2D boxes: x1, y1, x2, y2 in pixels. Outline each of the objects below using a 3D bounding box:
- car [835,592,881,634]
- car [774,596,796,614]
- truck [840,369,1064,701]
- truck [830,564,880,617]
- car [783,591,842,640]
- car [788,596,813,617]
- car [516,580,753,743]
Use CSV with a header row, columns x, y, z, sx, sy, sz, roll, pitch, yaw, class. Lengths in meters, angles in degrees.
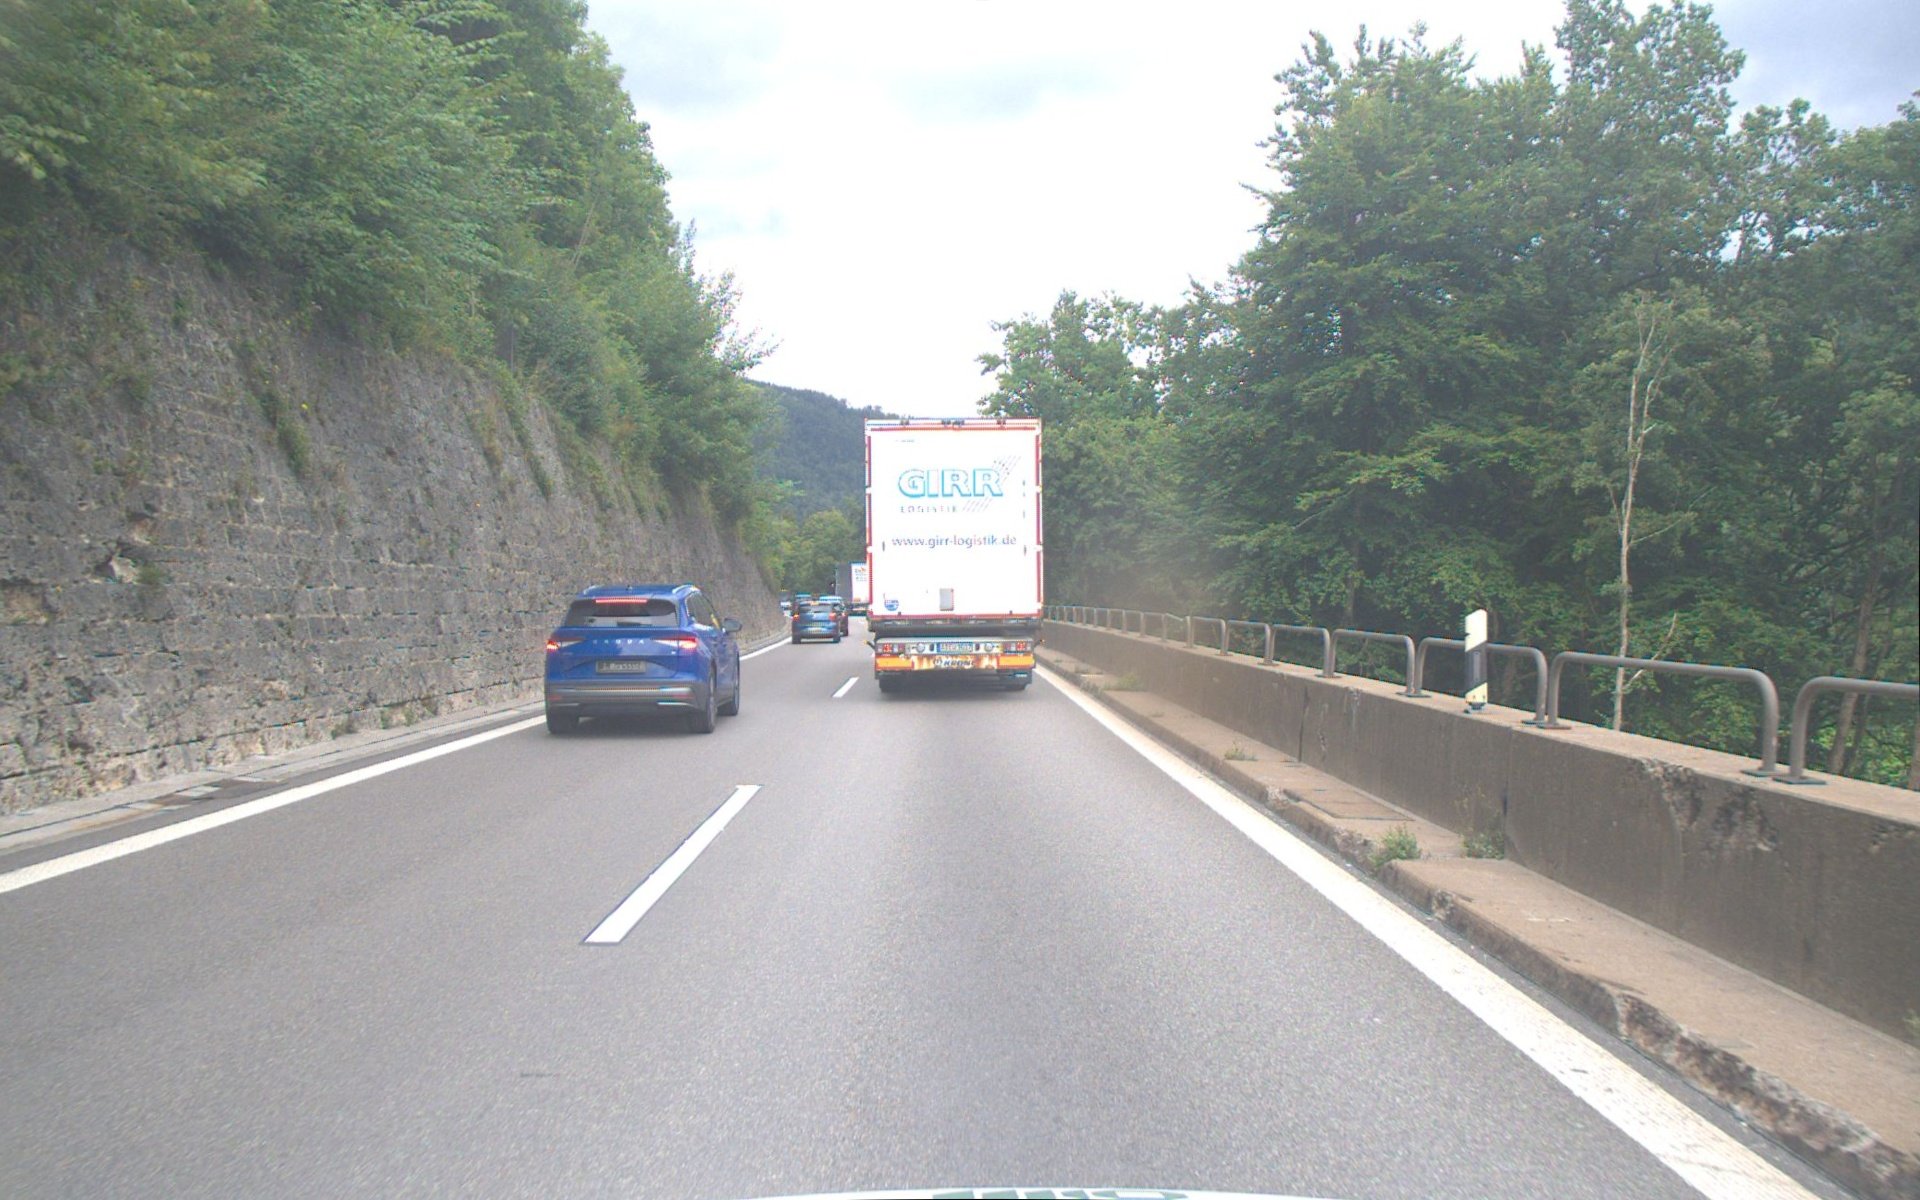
x,y,z,sx,sy,sz,roll,pitch,yaw,class
-4.167,0.526,68.095,1.710,1.614,3.999,2,0,-2,car
-17.020,0.460,161.023,1.714,1.614,3.990,5,-1,-10,car
-0.302,-0.918,30.725,3.022,4.542,15.150,2,0,-2,truck
-8.311,-0.758,129.831,2.586,3.925,12.329,0,0,-10,truck
-5.175,0.558,58.430,1.954,1.624,4.350,-1,-1,-4,car
-12.592,0.521,130.256,1.860,1.577,4.244,0,0,-6,car
-3.683,0.637,19.656,1.953,1.660,5.006,-1,0,-2,car
